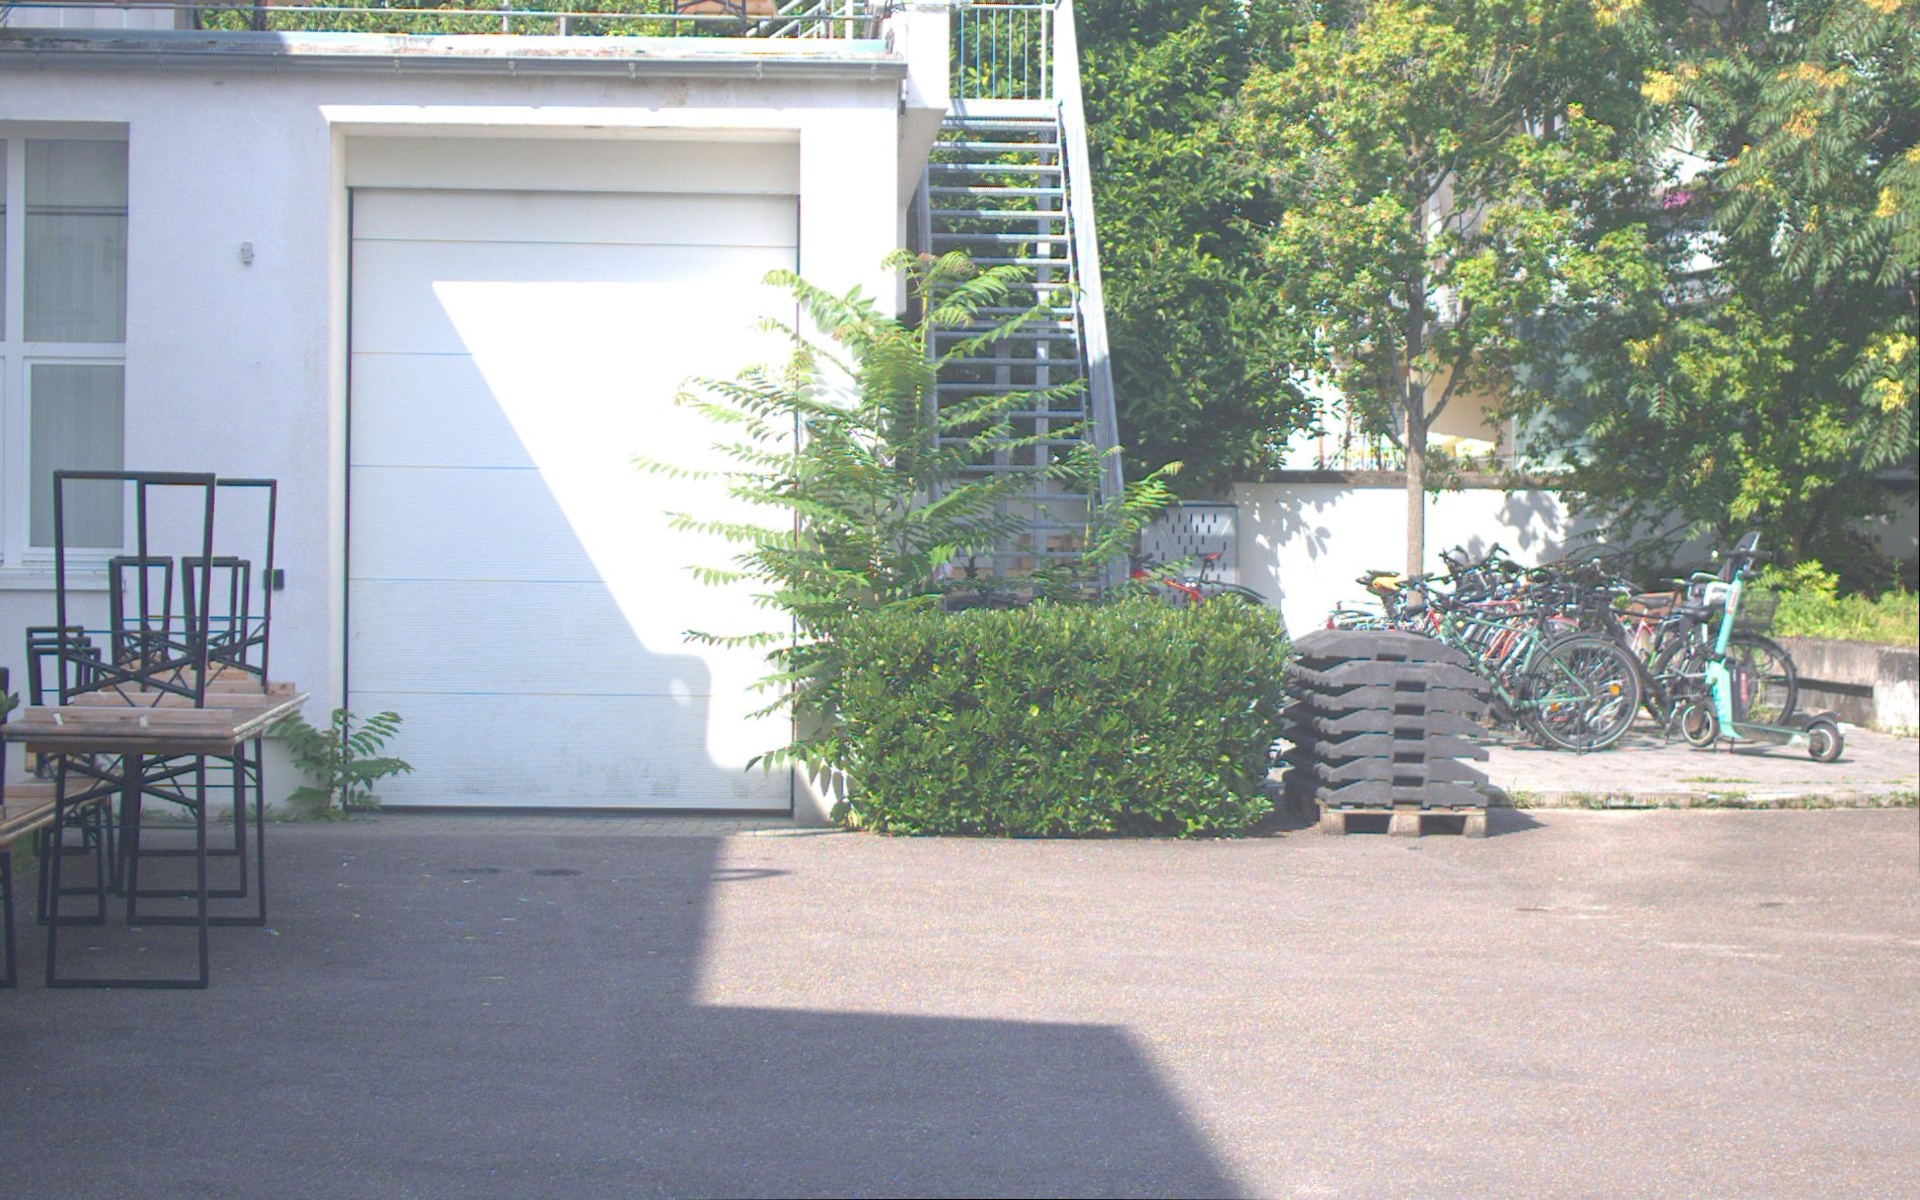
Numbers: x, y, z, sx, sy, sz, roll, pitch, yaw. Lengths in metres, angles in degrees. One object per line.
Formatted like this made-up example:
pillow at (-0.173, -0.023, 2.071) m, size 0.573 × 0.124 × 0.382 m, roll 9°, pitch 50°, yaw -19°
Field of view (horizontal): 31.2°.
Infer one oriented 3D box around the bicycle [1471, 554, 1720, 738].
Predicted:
bicycle at (4.253, 0.300, 23.067) m, size 1.624 × 1.210 × 0.424 m, roll 0°, pitch 1°, yaw 10°

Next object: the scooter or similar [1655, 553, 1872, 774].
scooter or similar at (4.760, 0.358, 20.437) m, size 0.378 × 1.256 × 1.349 m, roll -1°, pitch 2°, yaw -35°

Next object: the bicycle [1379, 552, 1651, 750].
bicycle at (3.424, 0.312, 21.242) m, size 1.623 × 1.210 × 0.327 m, roll 0°, pitch 1°, yaw -1°

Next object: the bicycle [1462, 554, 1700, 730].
bicycle at (4.345, 0.286, 24.097) m, size 1.624 × 1.210 × 0.424 m, roll 0°, pitch 1°, yaw 10°

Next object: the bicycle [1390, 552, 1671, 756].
bicycle at (3.417, 0.322, 20.626) m, size 1.623 × 1.210 × 0.327 m, roll 0°, pitch 1°, yaw -1°

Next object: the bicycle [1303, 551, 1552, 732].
bicycle at (3.172, 0.273, 23.360) m, size 1.622 × 1.210 × 0.424 m, roll 0°, pitch 1°, yaw -8°

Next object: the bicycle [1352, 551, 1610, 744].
bicycle at (3.341, 0.297, 22.055) m, size 1.624 × 1.210 × 0.327 m, roll 0°, pitch 1°, yaw 10°

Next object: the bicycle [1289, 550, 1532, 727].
bicycle at (3.137, 0.263, 23.962) m, size 1.623 × 1.210 × 0.424 m, roll 0°, pitch 1°, yaw -7°

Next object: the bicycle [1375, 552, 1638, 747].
bicycle at (3.437, 0.305, 21.694) m, size 1.623 × 1.210 × 0.327 m, roll 0°, pitch 1°, yaw 7°

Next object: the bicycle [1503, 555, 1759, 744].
bicycle at (4.379, 0.312, 22.495) m, size 1.624 × 1.210 × 0.424 m, roll 0°, pitch 1°, yaw 10°

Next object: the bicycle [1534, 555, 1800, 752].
bicycle at (4.445, 0.327, 21.636) m, size 1.624 × 1.210 × 0.327 m, roll 0°, pitch 1°, yaw 12°

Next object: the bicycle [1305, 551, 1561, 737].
bicycle at (3.119, 0.282, 22.723) m, size 1.623 × 1.210 × 0.424 m, roll 0°, pitch 1°, yaw -3°

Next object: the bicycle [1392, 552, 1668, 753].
bicycle at (3.467, 0.317, 20.950) m, size 1.623 × 1.210 × 0.327 m, roll 0°, pitch 1°, yaw -1°

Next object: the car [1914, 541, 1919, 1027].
car at (5.015, 0.575, 9.993) m, size 3.931 × 1.477 × 1.775 m, roll 0°, pitch 1°, yaw -12°
